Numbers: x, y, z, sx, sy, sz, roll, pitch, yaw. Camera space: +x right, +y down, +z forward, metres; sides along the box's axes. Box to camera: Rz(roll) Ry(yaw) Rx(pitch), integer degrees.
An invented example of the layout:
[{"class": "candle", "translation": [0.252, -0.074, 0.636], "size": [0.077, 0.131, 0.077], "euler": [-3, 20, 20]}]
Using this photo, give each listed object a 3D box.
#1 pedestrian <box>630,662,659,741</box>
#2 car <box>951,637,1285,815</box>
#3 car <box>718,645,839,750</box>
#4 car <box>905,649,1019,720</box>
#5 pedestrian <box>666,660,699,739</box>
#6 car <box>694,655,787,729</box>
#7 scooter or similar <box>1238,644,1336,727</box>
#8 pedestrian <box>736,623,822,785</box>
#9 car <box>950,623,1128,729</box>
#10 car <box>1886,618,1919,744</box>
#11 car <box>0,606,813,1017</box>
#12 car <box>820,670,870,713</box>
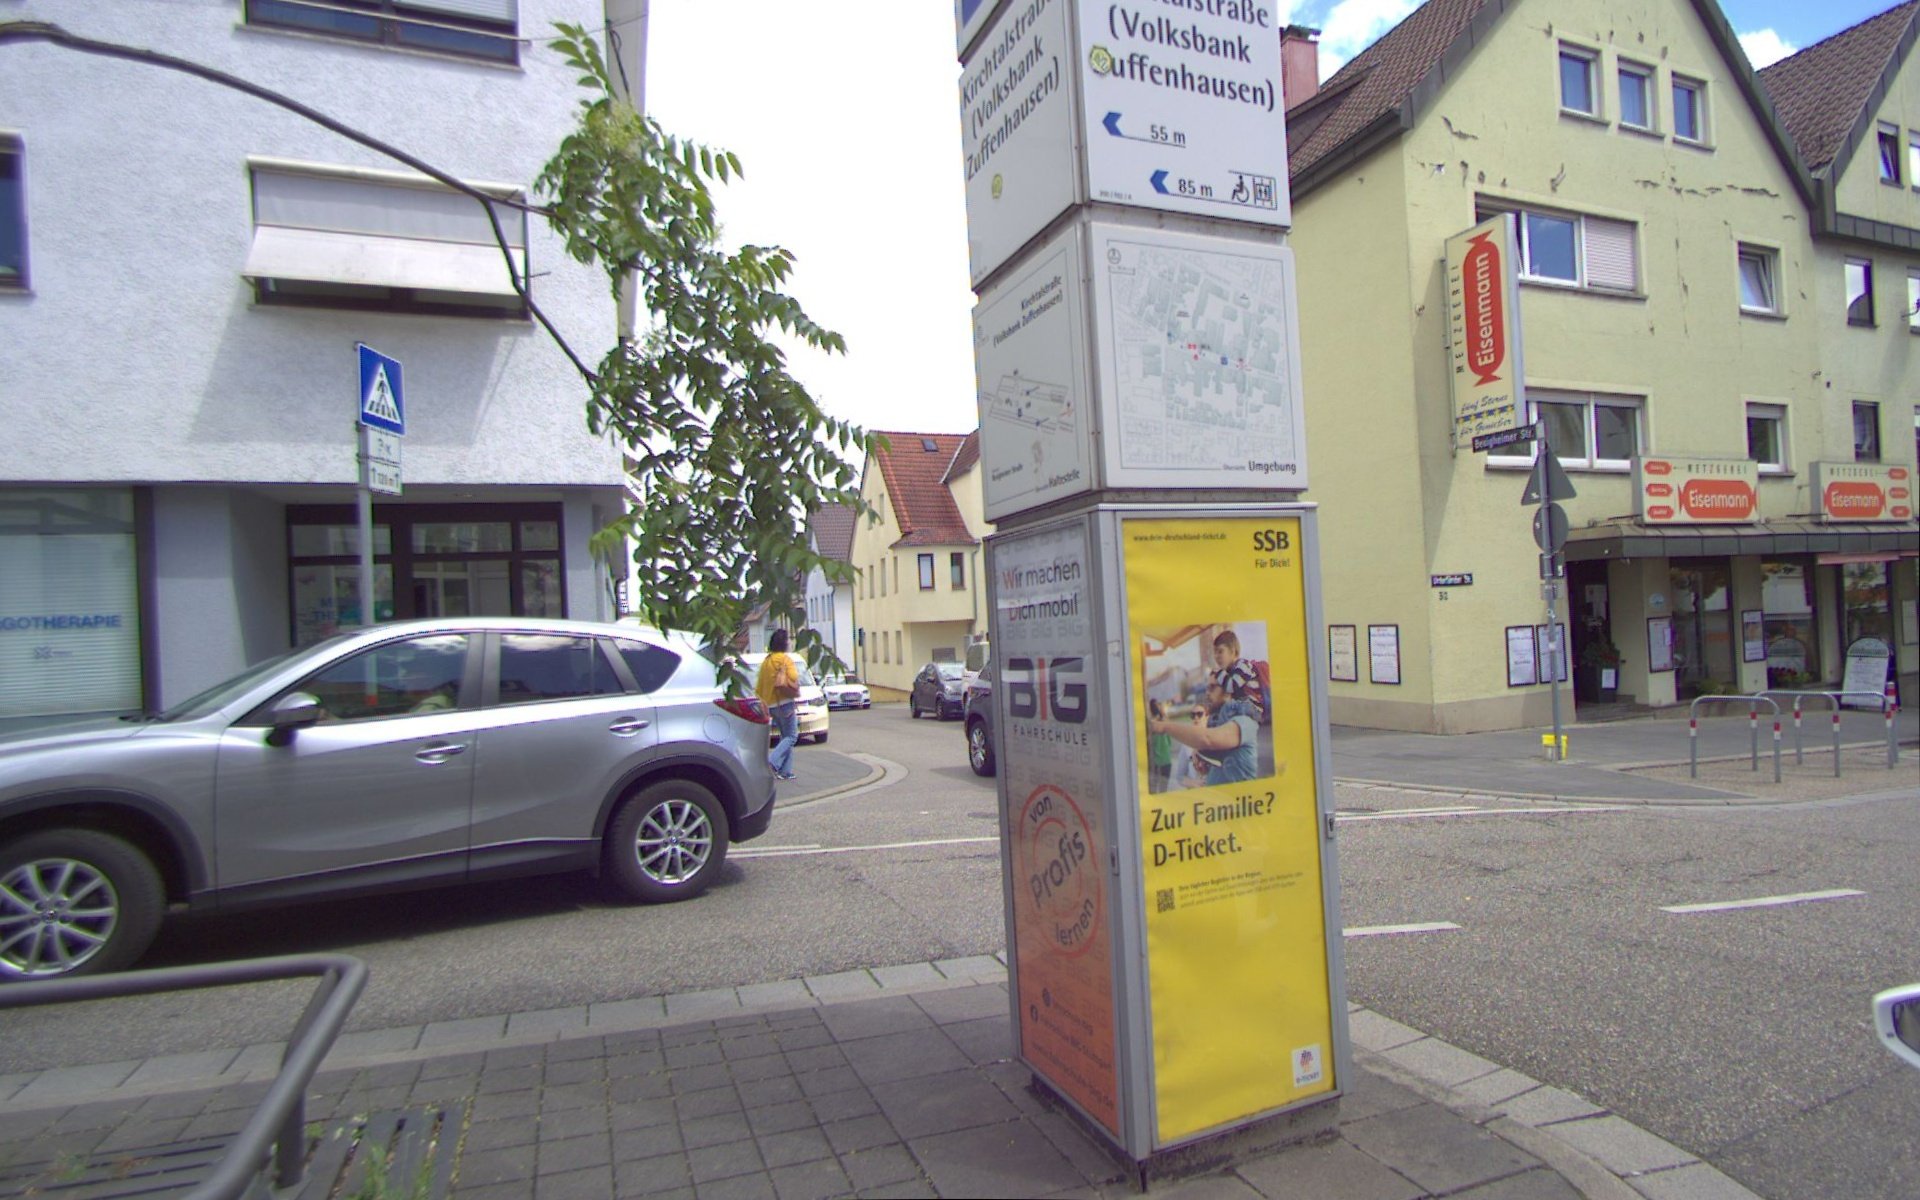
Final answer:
[{"class": "pedestrian", "translation": [-7.306, 2.329, 23.293], "size": [0.628, 1.761, 0.833], "euler": [0, -2, -16]}, {"class": "car", "translation": [1.497, 1.252, 11.378], "size": [1.886, 1.589, 4.354], "euler": [1, -3, -20]}, {"class": "car", "translation": [-3.782, 1.930, 20.245], "size": [1.838, 1.842, 4.824], "euler": [1, -5, -17]}, {"class": "car", "translation": [-0.057, 2.165, 25.734], "size": [1.710, 1.649, 4.340], "euler": [1, -5, -17]}, {"class": "pedestrian", "translation": [-5.721, 2.029, 20.698], "size": [0.628, 1.563, 0.706], "euler": [0, -2, -16]}, {"class": "car", "translation": [-5.740, 2.355, 25.908], "size": [1.968, 1.641, 4.081], "euler": [-2, -4, -17]}, {"class": "scooter or similar", "translation": [5.509, 1.425, 17.006], "size": [0.582, 1.297, 1.588], "euler": [-4, -2, -23]}, {"class": "pedestrian", "translation": [-2.078, 1.163, 11.474], "size": [0.825, 1.761, 0.634], "euler": [1, -4, -27]}, {"class": "car", "translation": [1.468, 1.576, 20.638], "size": [1.969, 1.829, 4.337], "euler": [-3, -4, -19]}, {"class": "car", "translation": [15.417, 1.103, 14.103], "size": [4.544, 1.716, 2.001], "euler": [0, -1, -25]}, {"class": "car", "translation": [-3.210, 0.922, 5.769], "size": [4.316, 1.642, 1.949], "euler": [2, -3, -38]}, {"class": "car", "translation": [-4.639, 3.609, 40.130], "size": [1.825, 1.506, 4.348], "euler": [0, -3, -9]}]
